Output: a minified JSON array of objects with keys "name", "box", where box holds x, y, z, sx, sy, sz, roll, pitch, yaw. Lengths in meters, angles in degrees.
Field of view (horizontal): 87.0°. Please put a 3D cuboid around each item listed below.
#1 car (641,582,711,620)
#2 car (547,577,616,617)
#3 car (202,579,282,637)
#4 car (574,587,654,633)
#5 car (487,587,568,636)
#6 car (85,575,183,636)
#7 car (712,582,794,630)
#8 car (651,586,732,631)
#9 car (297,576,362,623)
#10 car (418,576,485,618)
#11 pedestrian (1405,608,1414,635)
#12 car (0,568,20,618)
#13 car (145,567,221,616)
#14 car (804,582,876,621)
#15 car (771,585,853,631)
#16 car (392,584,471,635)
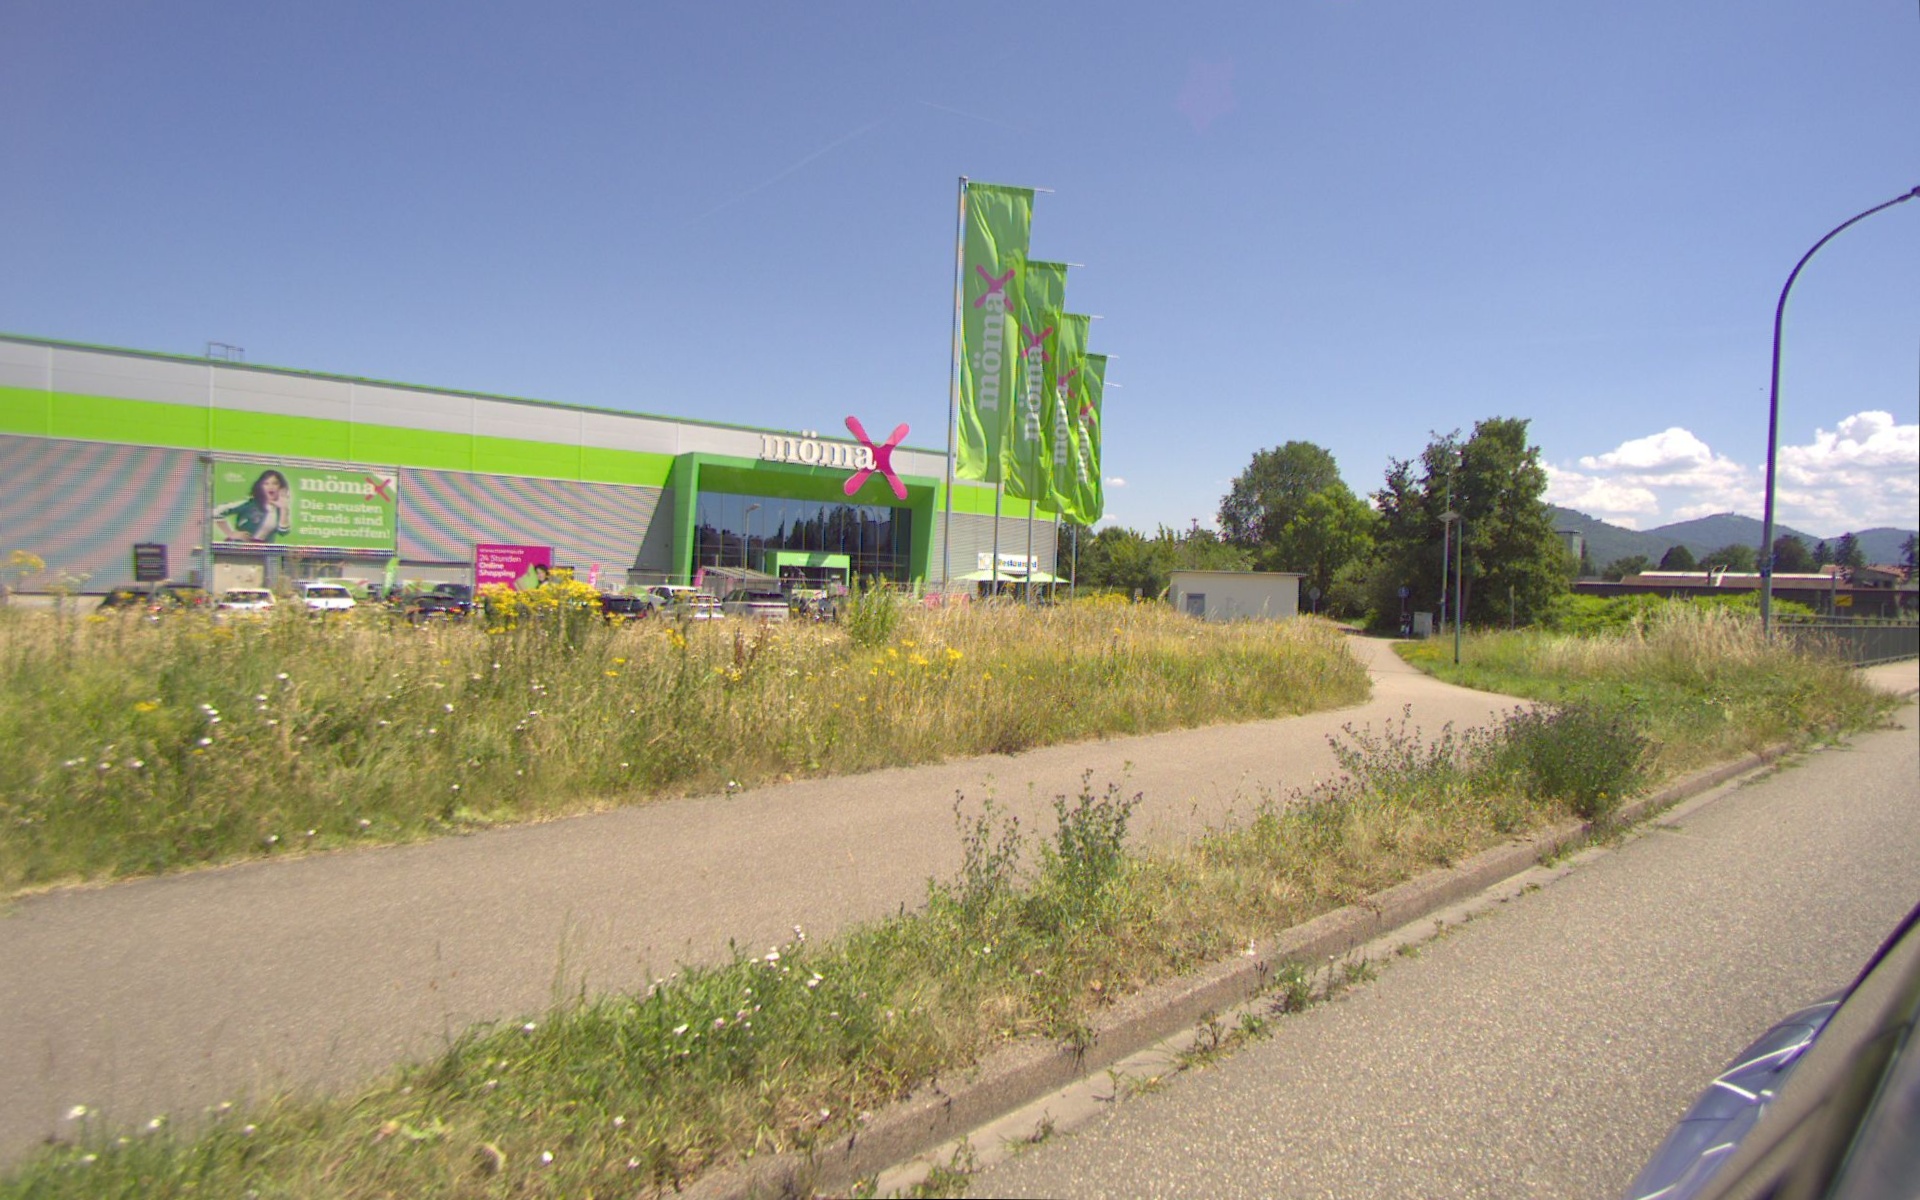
[{"name":"car","box":[-13.215,0.001,46.960,1.910,1.523,4.002,0,3,-34]},{"name":"car","box":[-16.562,-0.178,44.220,1.910,1.523,4.002,0,3,-34]},{"name":"car","box":[-22.433,0.210,31.716,1.910,1.549,4.002,0,3,-34]},{"name":"car","box":[-13.194,0.326,38.449,1.879,1.479,4.002,0,3,-34]},{"name":"car","box":[-15.542,0.352,36.235,1.910,1.479,4.002,0,3,-34]},{"name":"car","box":[-24.320,0.102,29.924,1.910,1.549,4.002,0,3,-34]},{"name":"car","box":[-8.555,0.206,41.524,1.879,1.717,4.002,0,3,-34]},{"name":"car","box":[-10.769,0.298,40.434,1.879,1.566,4.002,0,3,-34]},{"name":"car","box":[-23.930,-0.055,38.337,1.910,1.523,4.002,0,3,-34]},{"name":"car","box":[-20.800,-0.156,41.330,1.910,1.523,4.002,0,3,-34]},{"name":"pedestrian","box":[25.976,1.252,58.465,0.433,1.558,0.411,1,-2,23]},{"name":"car","box":[-32.040,-0.238,32.594,1.962,1.537,4.423,0,3,-35]},{"name":"car","box":[-27.607,-0.343,36.048,1.910,1.523,4.002,0,3,-34]},{"name":"car","box":[-5.929,0.037,49.694,1.879,1.674,4.002,0,3,-34]},{"name":"car","box":[-6.344,0.296,43.133,1.879,1.674,4.002,0,3,-34]},{"name":"car","box":[-18.134,0.294,34.647,1.910,1.479,4.002,0,3,-34]}]
